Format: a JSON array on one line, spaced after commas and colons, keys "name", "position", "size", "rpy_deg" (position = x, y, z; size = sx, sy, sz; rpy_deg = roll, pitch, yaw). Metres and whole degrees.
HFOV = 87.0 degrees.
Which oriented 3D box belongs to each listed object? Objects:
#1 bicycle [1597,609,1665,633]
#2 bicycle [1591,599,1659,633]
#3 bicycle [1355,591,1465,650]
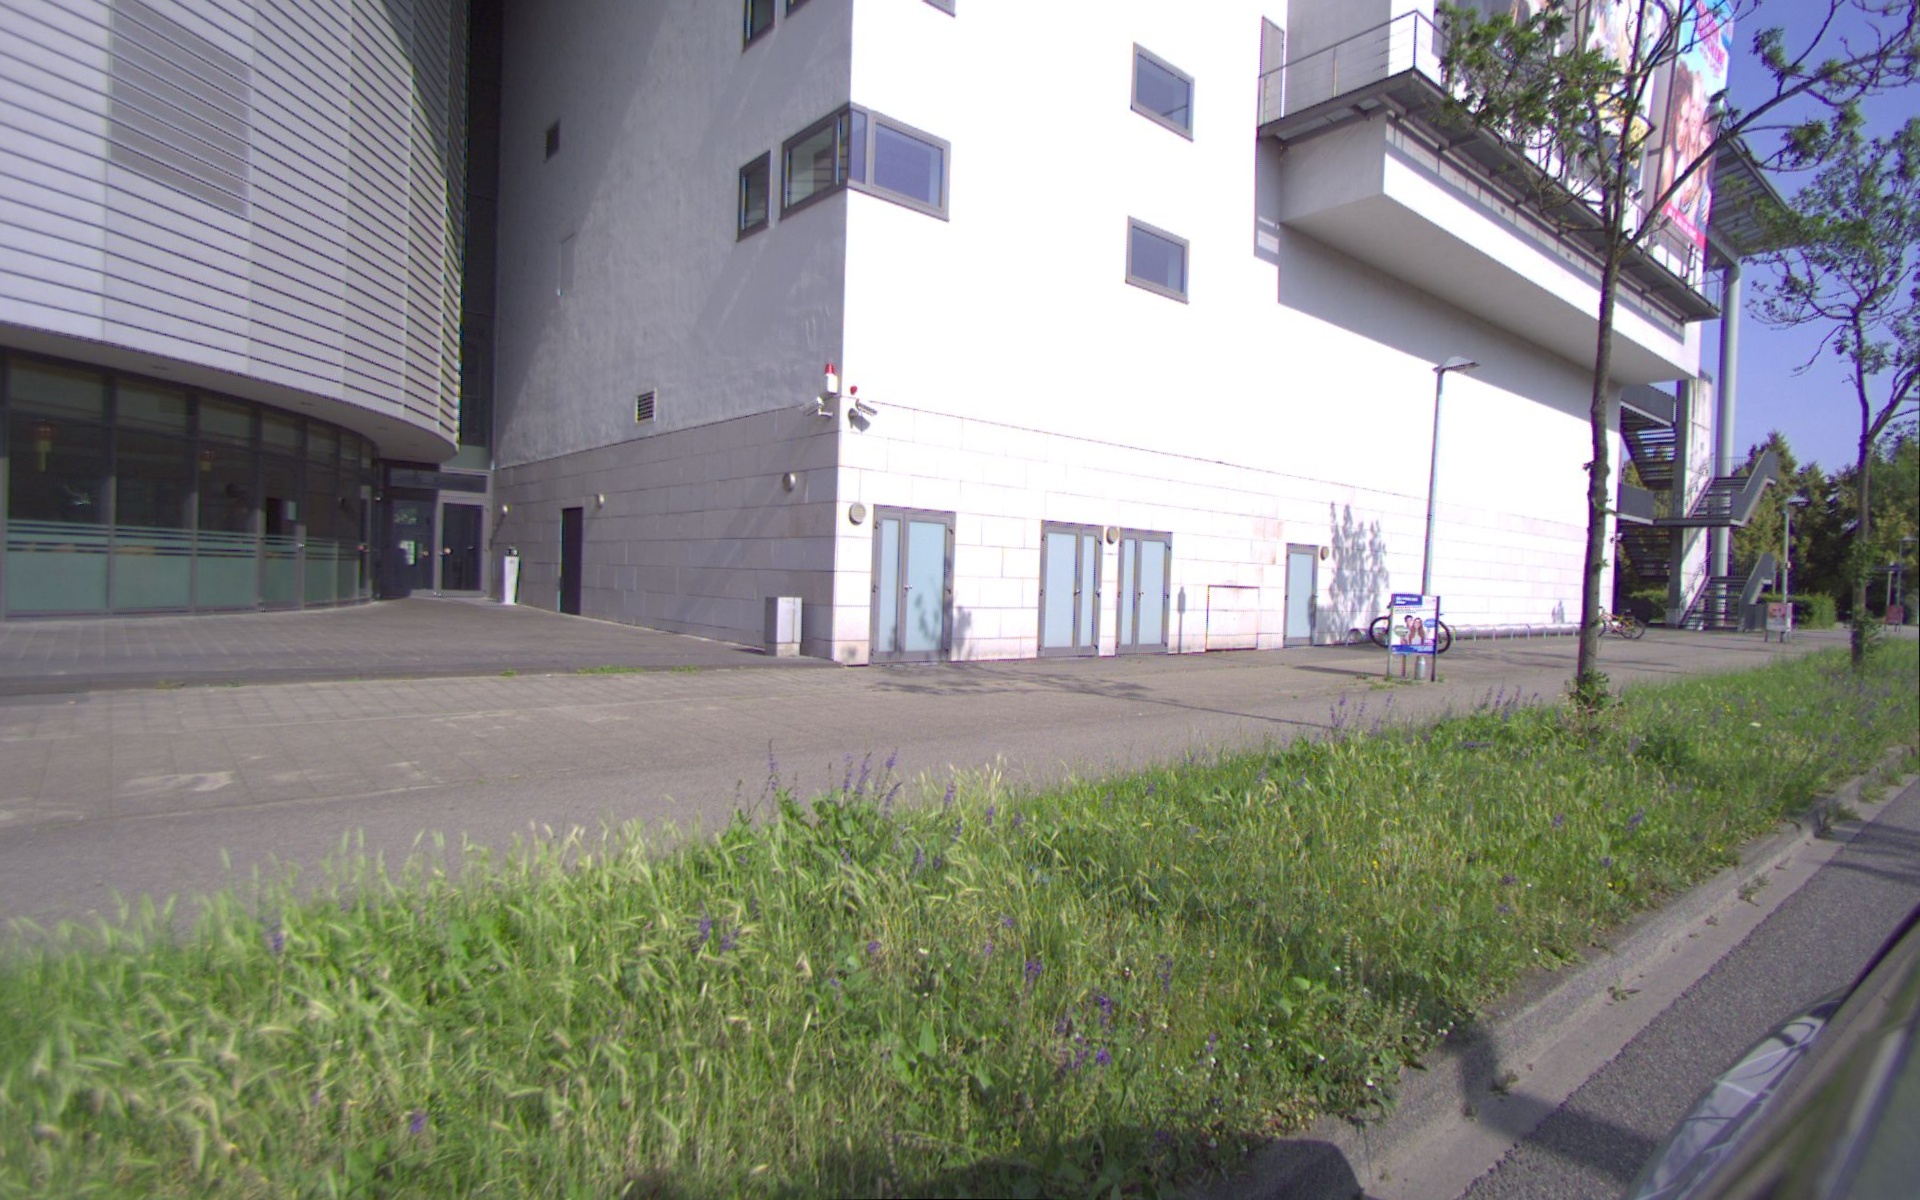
[{"name": "bicycle", "position": [20.675, 0.643, 31.219], "size": [0.528, 0.653, 1.661], "rpy_deg": [1, 2, -39]}, {"name": "bicycle", "position": [20.218, 0.481, 30.795], "size": [0.474, 0.926, 1.661], "rpy_deg": [1, 2, -39]}, {"name": "bicycle", "position": [9.355, 0.409, 21.105], "size": [0.663, 1.116, 2.015], "rpy_deg": [1, 1, -36]}]
